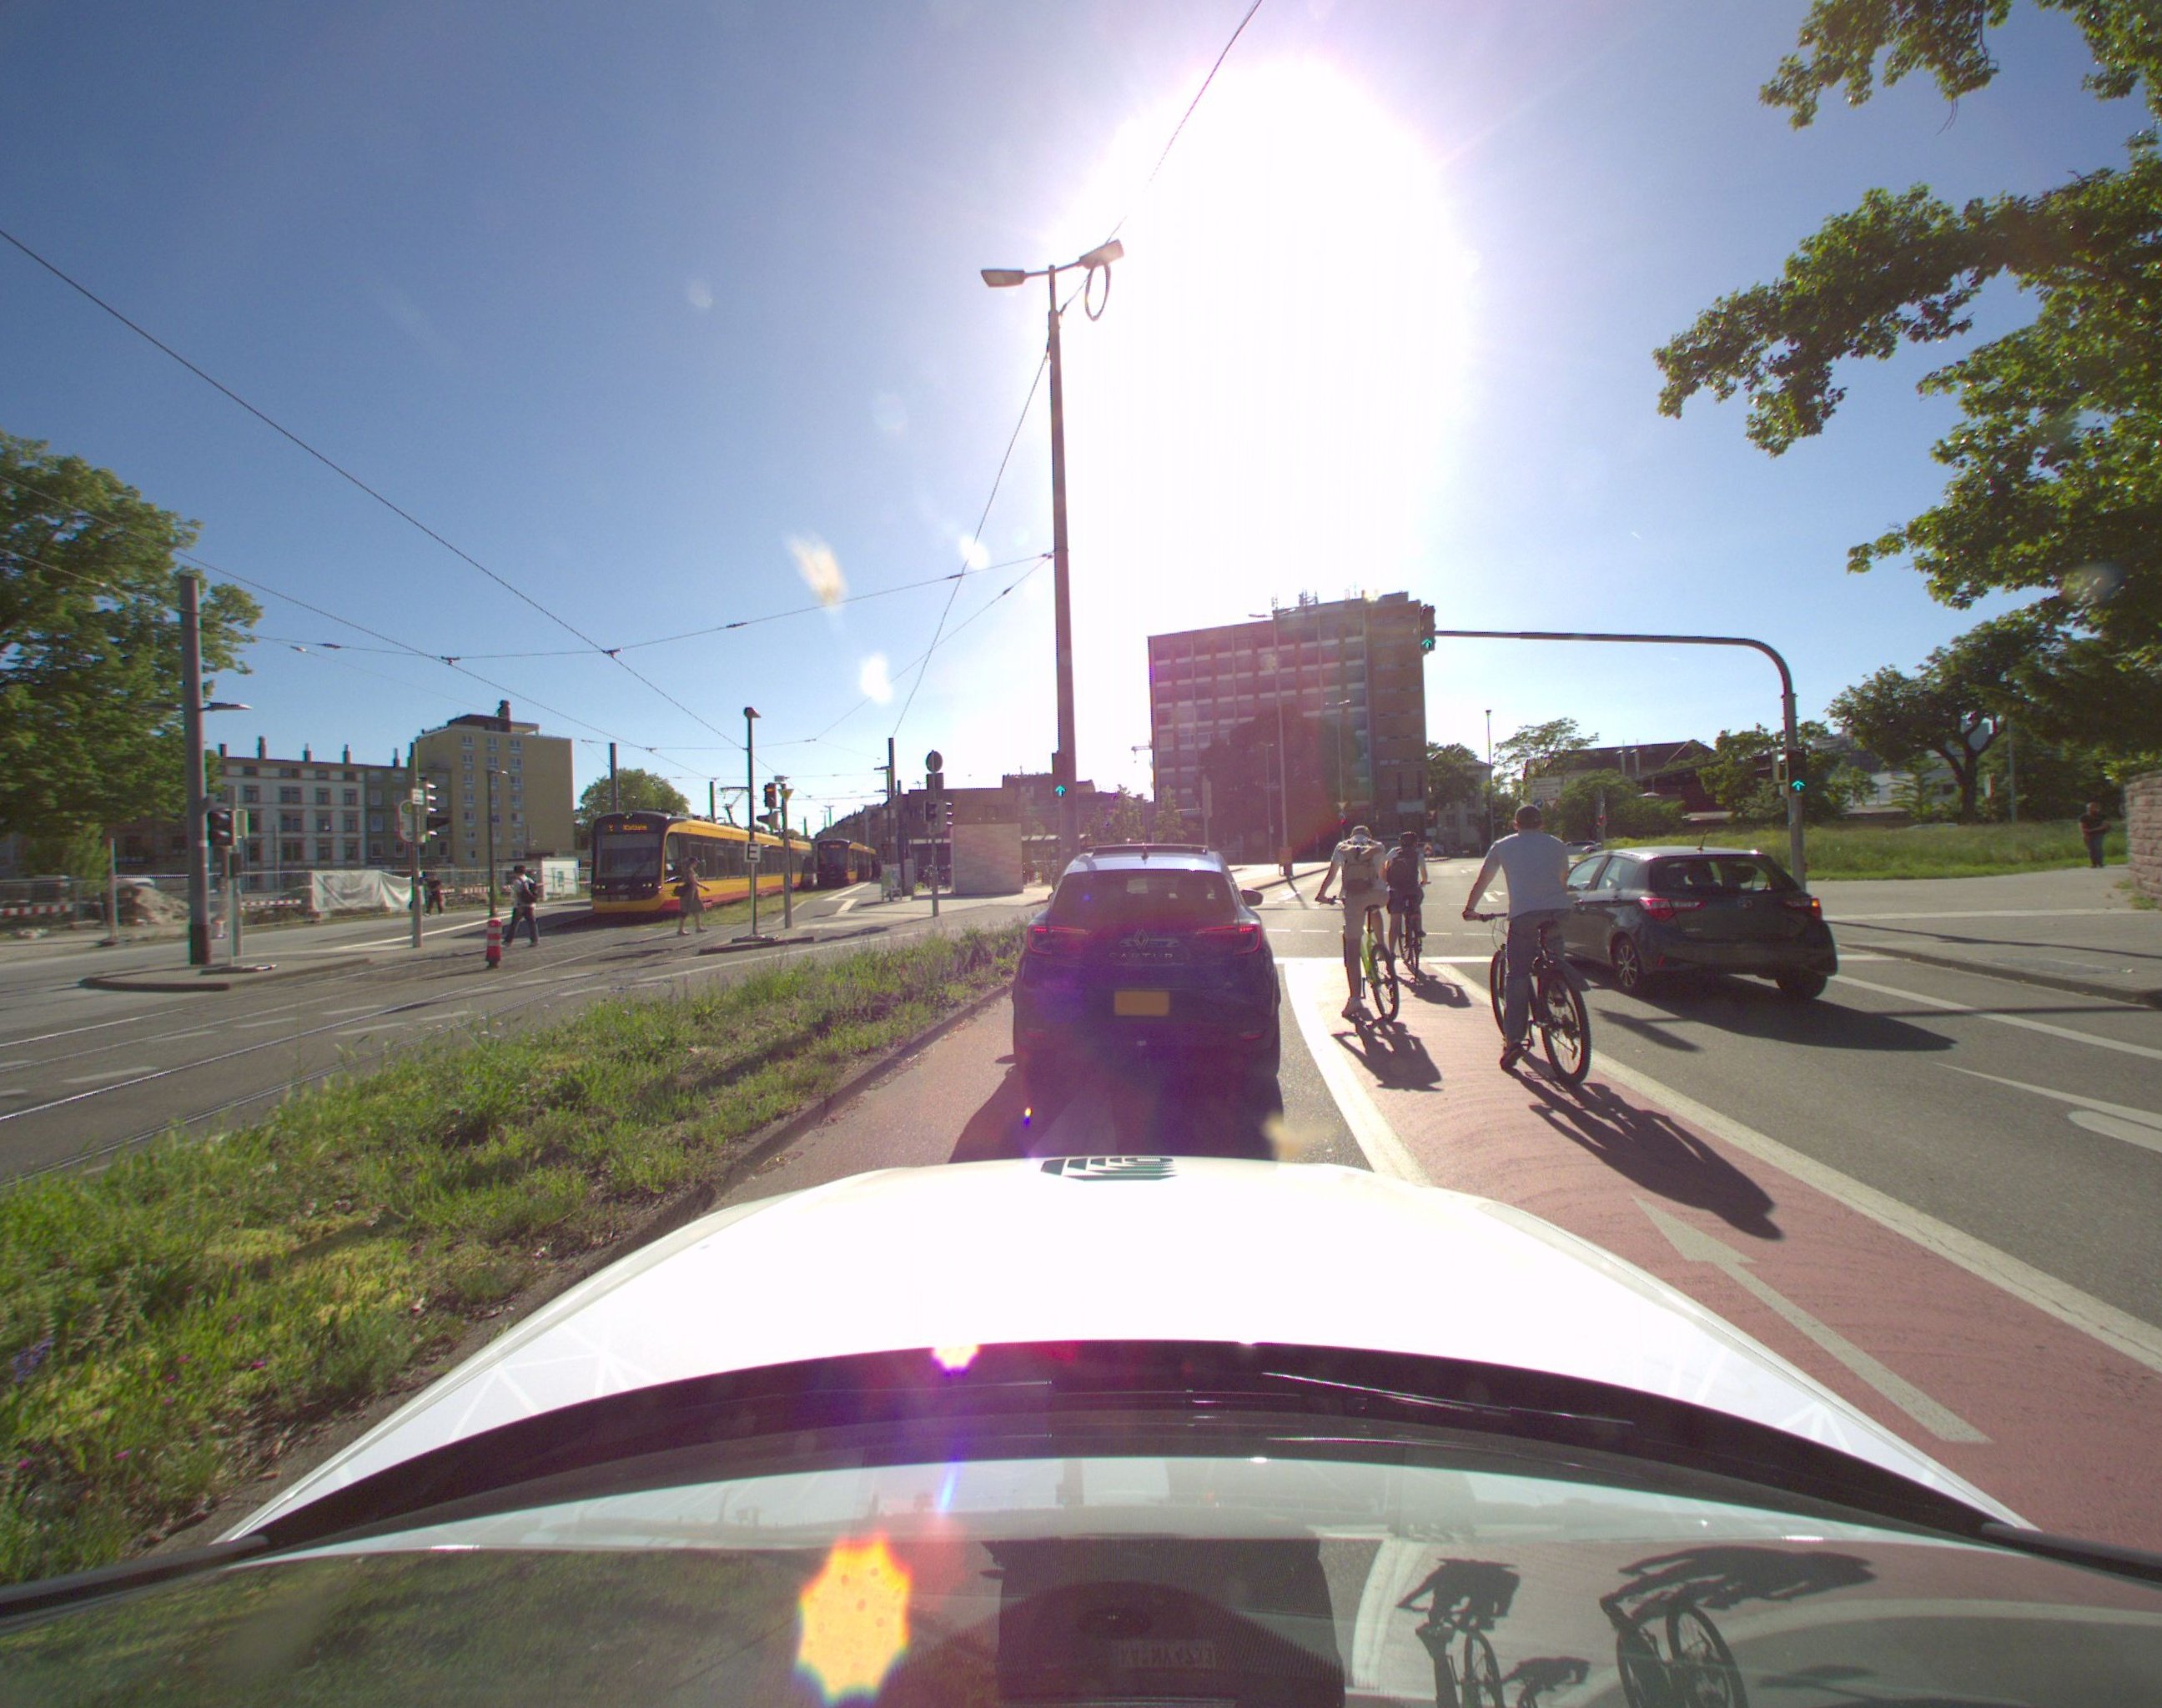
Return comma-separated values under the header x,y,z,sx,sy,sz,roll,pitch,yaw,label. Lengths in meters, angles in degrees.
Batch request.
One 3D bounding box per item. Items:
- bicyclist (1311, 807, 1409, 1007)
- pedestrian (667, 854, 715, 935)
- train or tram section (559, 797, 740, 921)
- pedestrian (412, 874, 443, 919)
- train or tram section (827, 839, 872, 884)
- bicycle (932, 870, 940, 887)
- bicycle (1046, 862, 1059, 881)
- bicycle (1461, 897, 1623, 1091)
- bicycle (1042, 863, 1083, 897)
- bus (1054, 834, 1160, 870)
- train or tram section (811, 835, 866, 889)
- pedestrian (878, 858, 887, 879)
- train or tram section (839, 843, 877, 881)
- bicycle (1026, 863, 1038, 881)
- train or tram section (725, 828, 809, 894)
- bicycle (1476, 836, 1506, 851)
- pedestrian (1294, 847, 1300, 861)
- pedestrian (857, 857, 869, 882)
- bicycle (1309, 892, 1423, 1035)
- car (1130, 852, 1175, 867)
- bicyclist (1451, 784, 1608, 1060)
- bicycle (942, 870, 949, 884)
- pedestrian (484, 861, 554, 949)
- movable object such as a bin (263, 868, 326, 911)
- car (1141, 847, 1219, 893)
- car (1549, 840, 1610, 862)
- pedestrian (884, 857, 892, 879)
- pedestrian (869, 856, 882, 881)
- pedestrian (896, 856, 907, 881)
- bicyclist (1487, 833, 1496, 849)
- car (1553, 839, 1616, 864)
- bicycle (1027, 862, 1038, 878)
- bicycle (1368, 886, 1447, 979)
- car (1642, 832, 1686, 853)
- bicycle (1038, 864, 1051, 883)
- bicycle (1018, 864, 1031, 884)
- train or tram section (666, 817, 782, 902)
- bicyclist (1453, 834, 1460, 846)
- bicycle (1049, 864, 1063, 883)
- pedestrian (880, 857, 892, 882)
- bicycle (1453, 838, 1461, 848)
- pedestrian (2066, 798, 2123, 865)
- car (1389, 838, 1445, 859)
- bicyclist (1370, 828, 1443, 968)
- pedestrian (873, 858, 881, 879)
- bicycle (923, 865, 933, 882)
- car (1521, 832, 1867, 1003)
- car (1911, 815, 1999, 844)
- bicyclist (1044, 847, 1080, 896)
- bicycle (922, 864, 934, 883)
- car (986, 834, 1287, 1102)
x,y,z,sx,sy,sz,roll,pitch,yaw,label
2.588,0.470,7.643,0.660,1.747,1.008,-2,0,9,bicyclist
-9.392,0.961,19.650,0.902,1.850,0.759,-2,2,-20,pedestrian
-14.696,0.178,28.869,2.820,3.508,10.433,-2,0,-12,train or tram section
-26.740,1.712,33.338,0.668,1.767,0.796,-2,0,-13,pedestrian
-19.746,0.666,69.909,2.873,3.508,10.499,-1,0,-12,train or tram section
-8.541,1.443,47.975,0.422,0.938,1.300,0,-1,-13,bicycle
-1.722,1.061,48.952,0.580,1.088,2.053,-1,-1,-7,bicycle
3.231,0.899,5.878,0.606,1.077,1.838,-2,0,17,bicycle
-0.621,0.882,28.094,0.767,1.080,2.044,-3,-1,16,bicycle
2.602,-0.146,86.891,12.287,3.396,2.900,-2,-2,42,bus
-17.603,0.592,59.717,2.873,3.508,10.499,-1,0,-12,train or tram section
-17.960,1.286,73.650,0.700,1.857,0.632,-1,-2,-10,pedestrian
-21.860,0.774,80.191,2.873,3.508,10.499,-1,0,-12,train or tram section
-2.929,1.081,48.910,0.580,1.088,2.053,-1,-1,-7,bicycle
-18.917,0.426,49.786,2.818,3.508,11.166,-1,0,-11,train or tram section
43.516,-1.081,86.429,2.775,1.541,0.889,-2,-2,27,bicycle
26.159,-0.029,98.490,0.555,1.670,0.479,-2,-2,39,pedestrian
-16.361,1.172,61.208,0.848,1.883,0.757,-1,-2,-14,pedestrian
2.608,0.948,7.652,0.659,1.047,1.895,-2,1,9,bicycle
7.612,0.619,86.838,4.354,1.522,1.982,-2,-2,40,car
3.154,0.445,5.828,0.744,1.776,1.018,-2,-1,17,bicyclist
-8.817,1.490,53.007,0.421,0.938,1.374,0,-1,-9,bicycle
-12.298,1.103,17.852,1.017,1.832,0.757,-2,-1,-13,pedestrian
-53.469,2.398,55.359,3.950,2.796,1.844,-2,-2,26,movable object such as a bin
3.770,0.551,30.335,1.784,1.393,4.116,-2,2,22,car
46.066,-0.231,75.328,4.605,1.900,2.013,-2,-2,37,car
-16.979,1.223,71.690,0.632,1.857,0.700,-1,-2,-9,pedestrian
-15.771,1.125,62.640,0.599,1.857,0.798,-2,-2,21,pedestrian
-13.961,1.121,63.350,0.848,1.883,0.757,-1,-2,-14,pedestrian
43.537,-1.383,86.415,0.850,1.692,0.889,-2,-2,27,bicyclist
44.823,-0.201,72.544,4.605,2.014,2.013,-2,-2,32,car
-3.361,1.144,56.399,0.580,1.088,1.865,-1,-1,-9,bicycle
4.046,0.928,10.222,0.717,0.960,1.892,-1,0,16,bicycle
55.148,-1.089,77.060,3.873,1.935,1.889,0,-2,-30,car
-1.943,1.044,43.223,0.580,0.961,2.053,-1,-1,-7,bicycle
-2.971,1.054,42.872,0.580,1.058,1.812,-1,-1,-7,bicycle
-16.822,0.266,39.220,2.818,3.508,10.569,-1,0,-11,train or tram section
43.478,-1.632,94.233,0.612,1.444,0.824,-2,0,32,bicyclist
-1.329,1.035,43.295,0.580,0.961,2.053,-1,-1,-7,bicycle
-14.926,1.172,62.318,0.848,1.883,0.757,-1,-2,-14,pedestrian
43.483,-1.272,94.225,0.603,1.093,1.682,-3,0,32,bicycle
29.109,-0.641,23.397,1.052,1.832,0.754,-2,-1,-27,pedestrian
29.820,-0.502,72.408,4.214,1.568,1.827,-4,-1,6,car
3.987,0.515,10.050,0.716,1.626,1.059,-1,0,16,bicyclist
-17.793,1.276,71.191,0.634,1.857,0.699,0,-2,-17,pedestrian
-9.859,1.276,52.601,0.565,1.093,2.023,-1,-1,-9,bicycle
6.606,0.583,9.327,1.744,1.541,3.670,-1,0,11,car
68.239,-1.908,63.676,4.305,2.014,2.013,-2,-2,33,car
-0.646,0.593,28.117,0.873,1.644,1.065,-3,-1,16,bicyclist
-8.671,1.107,46.261,0.565,1.093,2.023,-1,-1,-9,bicycle
0.563,0.687,6.789,1.813,1.600,3.666,-1,0,8,car
